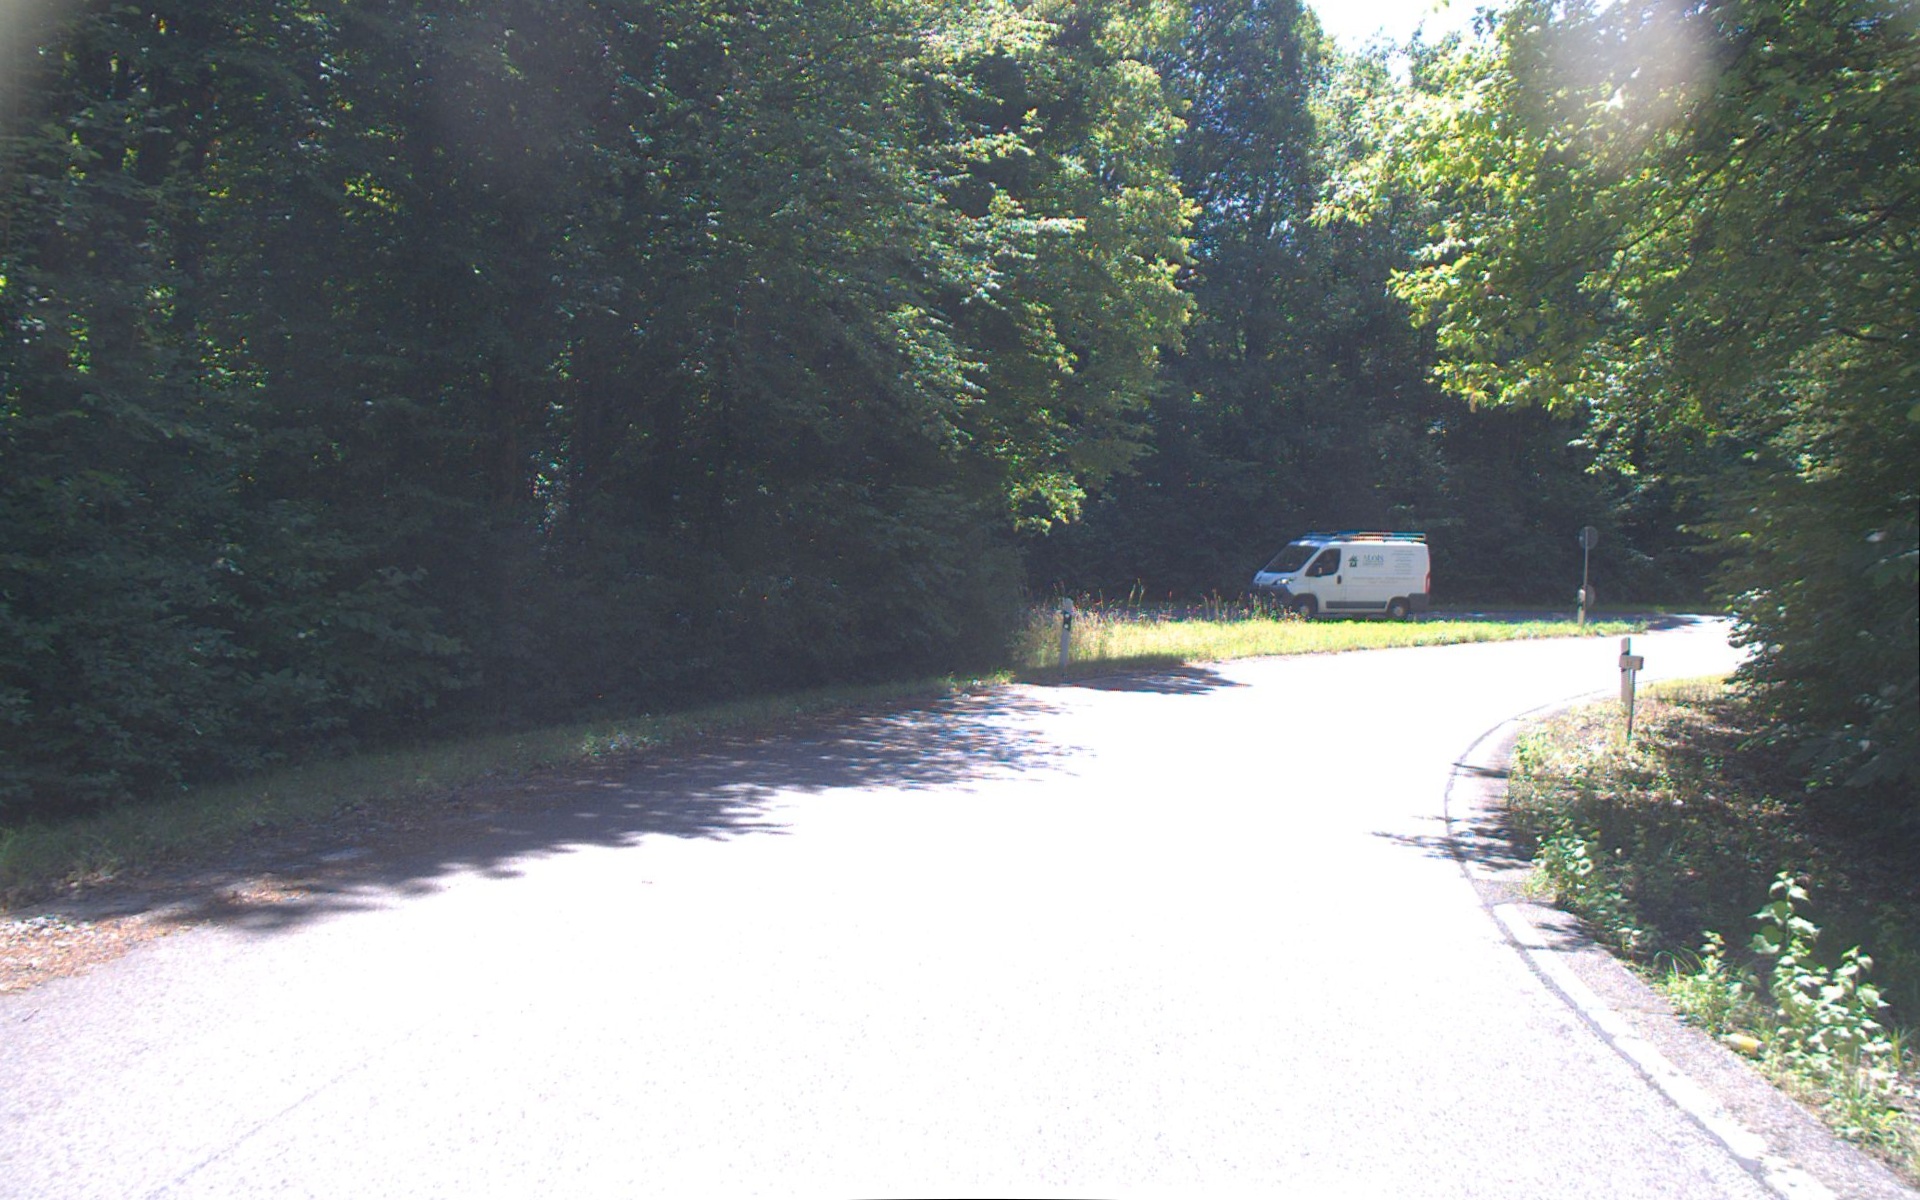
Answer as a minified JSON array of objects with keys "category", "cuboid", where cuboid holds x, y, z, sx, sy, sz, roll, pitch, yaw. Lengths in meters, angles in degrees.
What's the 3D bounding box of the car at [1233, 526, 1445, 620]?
[{"category":"car","cuboid":[10.321,-0.753,45.093,5.328,2.386,2.058,0,4,-20]}]
